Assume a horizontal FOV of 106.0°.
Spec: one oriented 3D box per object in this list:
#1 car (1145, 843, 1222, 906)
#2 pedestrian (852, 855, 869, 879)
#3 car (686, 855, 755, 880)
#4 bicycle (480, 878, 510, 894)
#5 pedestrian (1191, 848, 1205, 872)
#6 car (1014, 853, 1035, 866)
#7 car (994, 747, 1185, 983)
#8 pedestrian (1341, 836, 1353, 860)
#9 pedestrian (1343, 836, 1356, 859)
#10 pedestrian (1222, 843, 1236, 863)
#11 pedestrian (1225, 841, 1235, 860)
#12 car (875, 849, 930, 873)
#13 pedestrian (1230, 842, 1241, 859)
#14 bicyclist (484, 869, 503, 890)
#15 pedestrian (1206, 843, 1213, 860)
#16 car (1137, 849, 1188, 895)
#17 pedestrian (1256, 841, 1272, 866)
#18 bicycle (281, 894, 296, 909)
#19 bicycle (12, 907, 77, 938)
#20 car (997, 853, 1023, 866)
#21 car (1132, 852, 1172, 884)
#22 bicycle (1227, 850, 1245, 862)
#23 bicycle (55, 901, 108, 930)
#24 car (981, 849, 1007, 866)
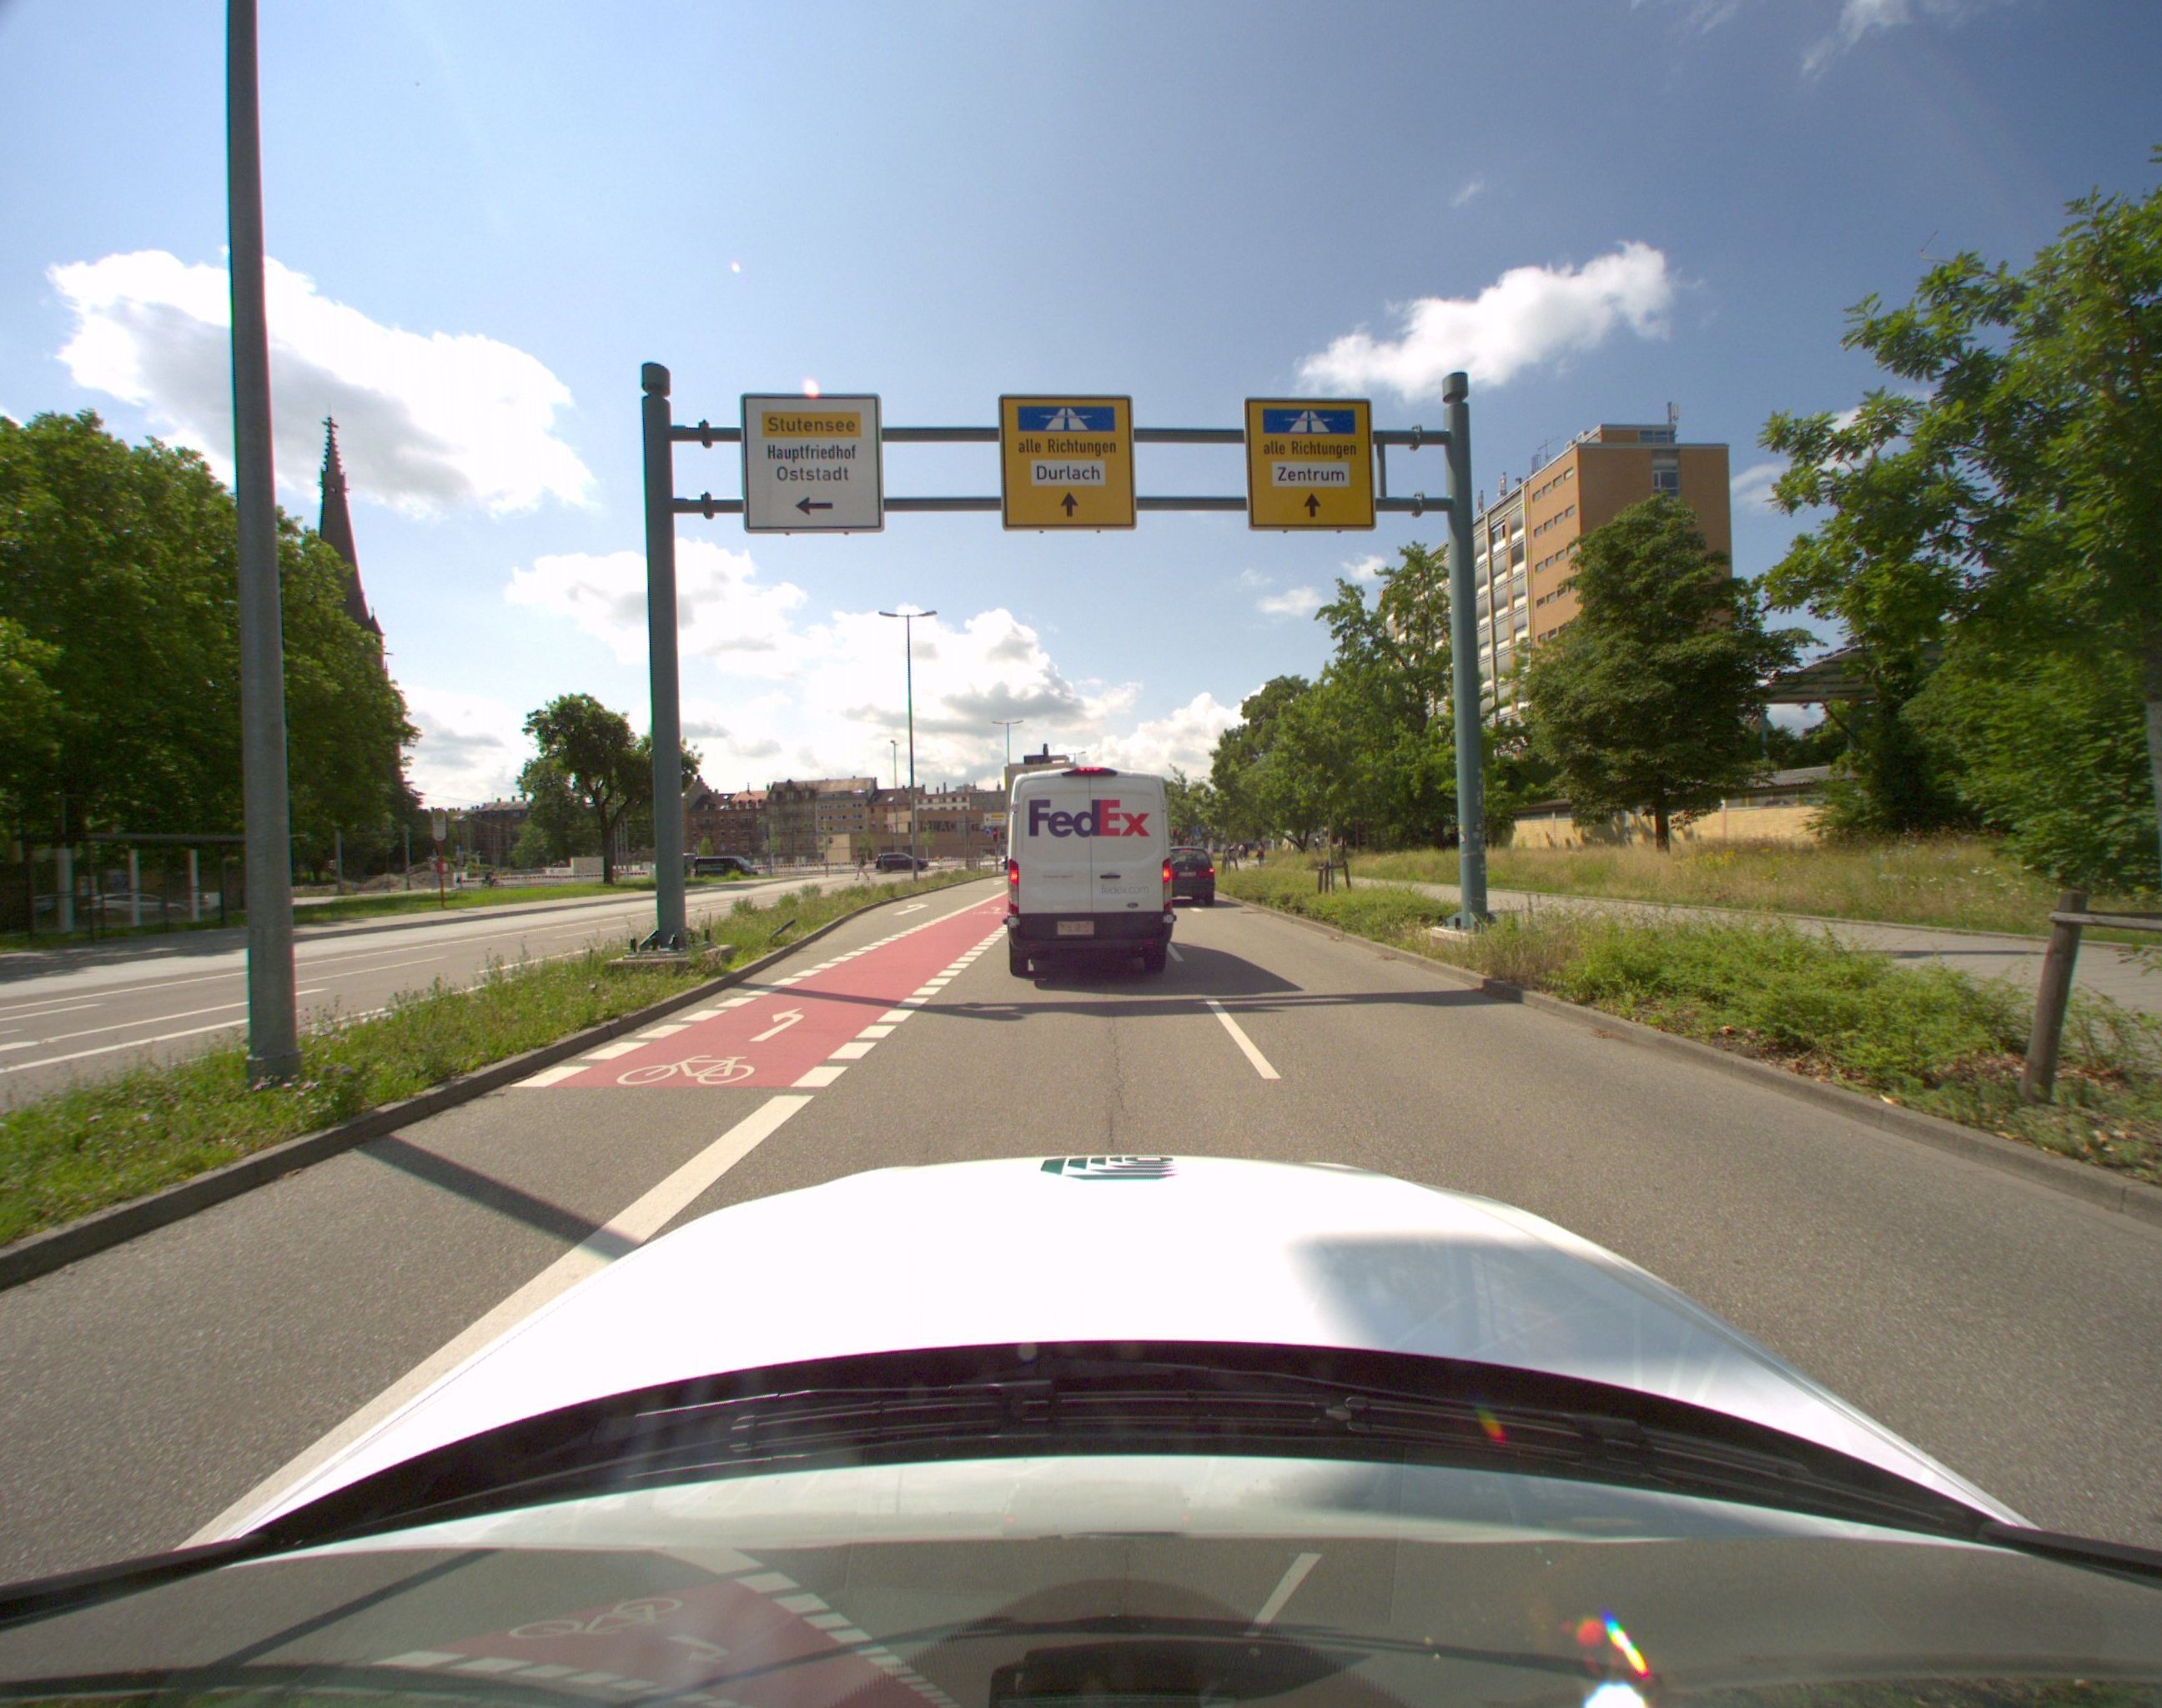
[{"bbox_3d":[3.061,0.559,25.111,1.806,1.734,4.388,-1,0,0],"label":"car"},{"bbox_3d":[-14.385,0.852,53.109,0.880,1.560,0.549,-2,0,-40],"label":"pedestrian"},{"bbox_3d":[-31.023,1.145,70.165,4.997,1.879,1.927,-2,0,-4],"label":"car"},{"bbox_3d":[-51.857,2.797,72.087,2.062,1.290,0.603,-2,0,-7],"label":"bicycle"},{"bbox_3d":[9.419,0.453,65.562,0.947,1.892,0.774,-2,0,0],"label":"pedestrian"},{"bbox_3d":[-7.536,0.677,108.535,1.868,1.652,4.010,-2,0,8],"label":"car"},{"bbox_3d":[-0.073,0.102,12.151,2.136,2.652,5.696,-1,0,-4],"label":"car"},{"bbox_3d":[23.172,-0.560,71.005,0.837,2.058,0.745,-2,0,28],"label":"pedestrian"},{"bbox_3d":[23.724,-0.575,71.990,0.740,2.058,0.843,-2,0,-16],"label":"pedestrian"},{"bbox_3d":[10.741,-0.079,59.262,0.842,1.389,0.741,-2,0,0],"label":"pedestrian"},{"bbox_3d":[14.849,-0.316,81.091,0.671,1.892,0.579,-2,0,44],"label":"pedestrian"},{"bbox_3d":[-16.657,0.653,76.150,4.620,2.014,2.096,-2,-1,-5],"label":"car"},{"bbox_3d":[13.954,-0.334,73.663,0.891,1.472,0.488,-2,0,19],"label":"pedestrian"},{"bbox_3d":[-51.983,2.270,72.063,1.118,1.844,0.592,-2,0,-7],"label":"bicyclist"},{"bbox_3d":[14.087,-0.305,89.495,0.572,1.892,0.679,-2,0,0],"label":"pedestrian"},{"bbox_3d":[3.265,0.688,33.207,1.791,1.687,4.002,-2,0,2],"label":"car"},{"bbox_3d":[11.678,-0.020,52.013,0.842,1.539,0.835,-2,0,0],"label":"pedestrian"},{"bbox_3d":[-51.291,3.092,52.709,1.644,0.902,0.549,-2,0,42],"label":"bicycle"},{"bbox_3d":[-35.053,2.306,27.571,0.545,0.902,1.654,-2,0,-20],"label":"bicycle"},{"bbox_3d":[-8.923,0.687,102.343,1.887,1.585,4.016,-2,0,15],"label":"car"},{"bbox_3d":[3.534,0.650,41.083,1.791,1.461,3.840,-2,0,2],"label":"car"},{"bbox_3d":[14.035,0.180,73.646,1.557,0.955,0.488,-2,0,19],"label":"bicycle"},{"bbox_3d":[-36.044,2.208,29.390,0.546,0.902,1.651,-2,0,-25],"label":"bicycle"},{"bbox_3d":[-11.021,0.452,103.669,1.979,2.014,4.016,-2,0,15],"label":"car"}]
